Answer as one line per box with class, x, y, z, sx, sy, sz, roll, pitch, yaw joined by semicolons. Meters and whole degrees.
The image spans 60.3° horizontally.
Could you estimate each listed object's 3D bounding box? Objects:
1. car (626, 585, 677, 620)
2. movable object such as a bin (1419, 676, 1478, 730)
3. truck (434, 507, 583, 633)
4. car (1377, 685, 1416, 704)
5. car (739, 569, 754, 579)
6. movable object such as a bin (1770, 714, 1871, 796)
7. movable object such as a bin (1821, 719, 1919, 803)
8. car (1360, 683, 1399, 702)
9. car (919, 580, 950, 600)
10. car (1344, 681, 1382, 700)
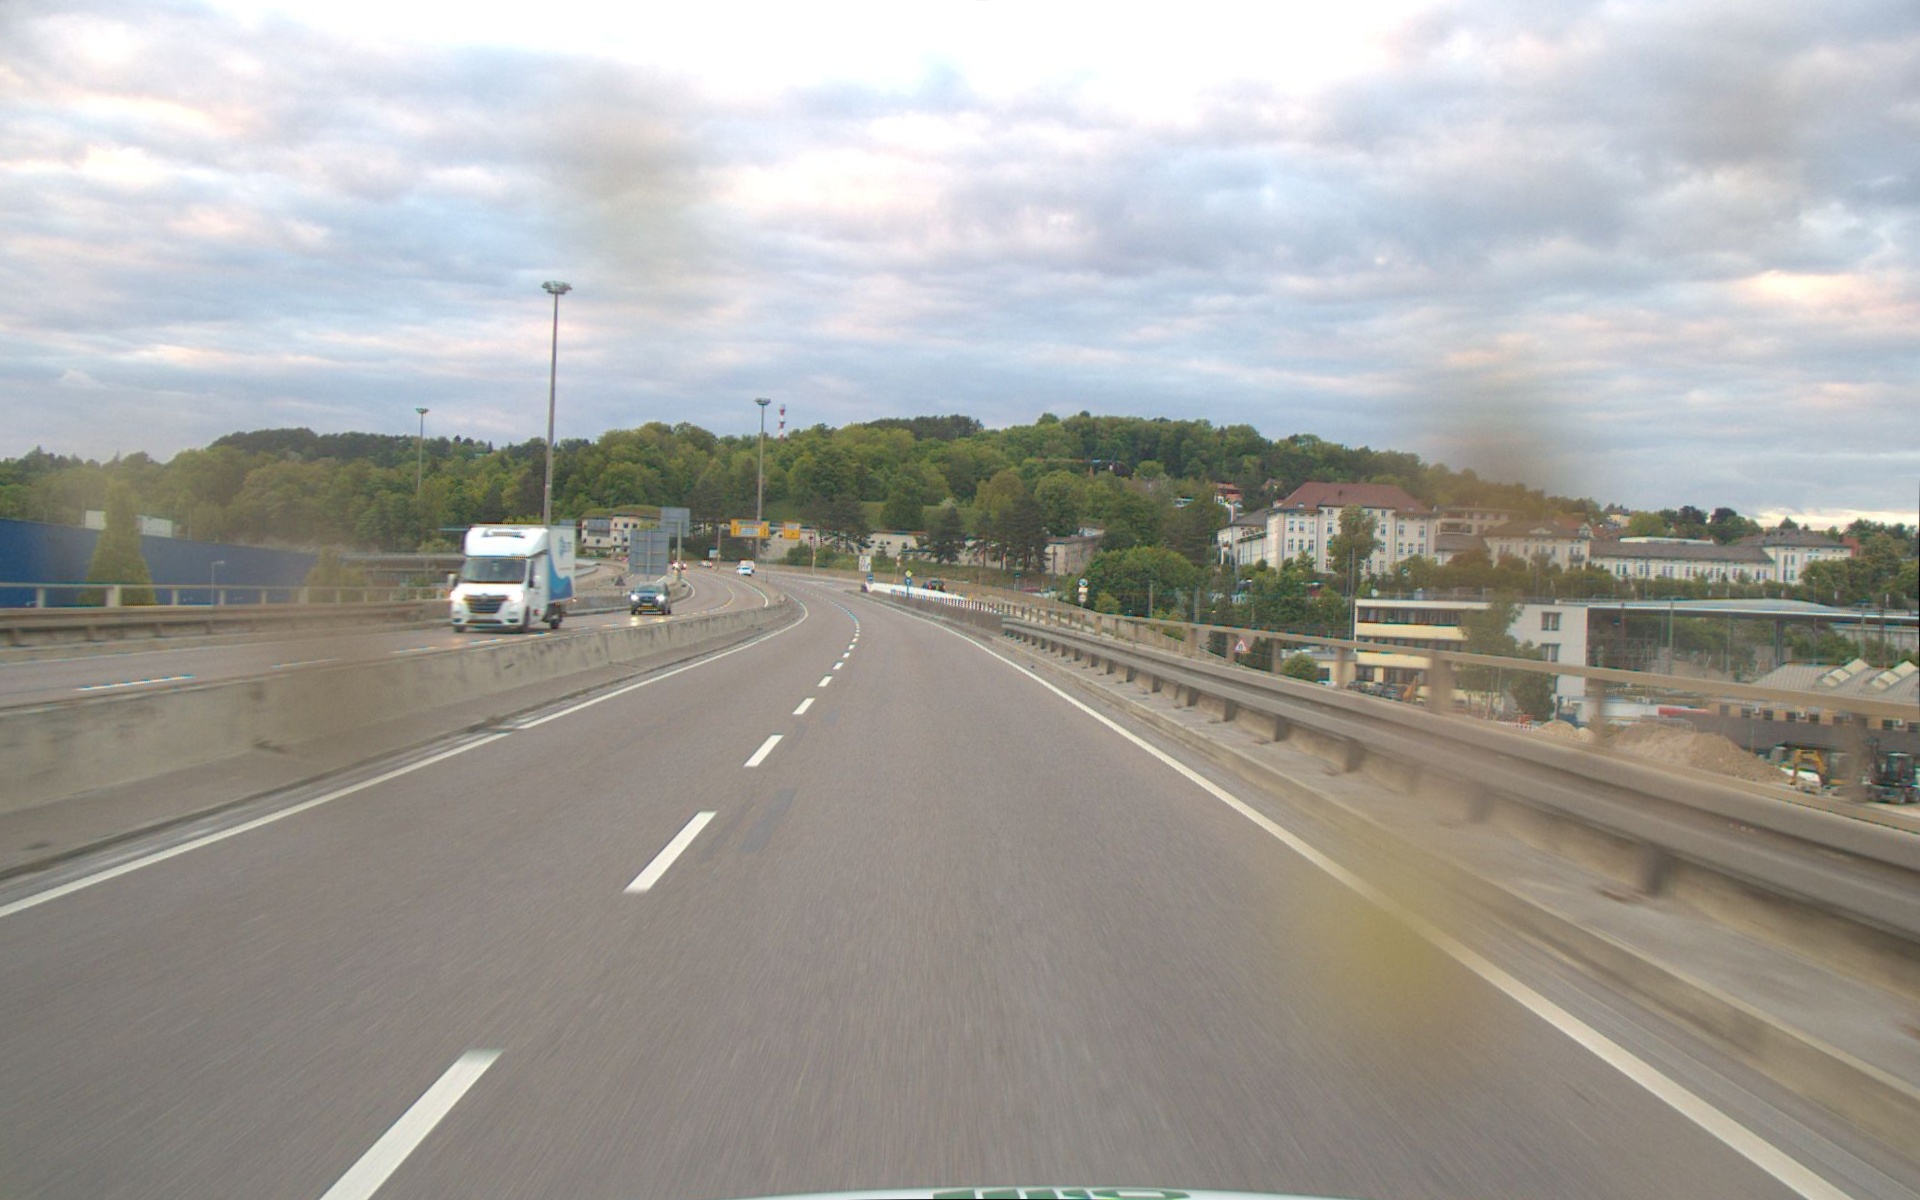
car;-15.160;0.100;81.441;1.938;1.634;4.437;1;0;-4
movable object such as a bin;46.593;9.802;157.802;2.732;4.382;4.937;8;-1;-16
truck;-13.092;-0.813;48.609;2.483;3.354;7.443;1;0;-2
car;45.267;9.821;171.530;3.958;1.592;1.808;6;2;-38
car;-30.423;-3.729;235.372;1.603;1.412;3.986;0;2;-14
movable object such as a bin;55.154;9.918;105.999;4.867;4.382;2.771;8;-1;-19
movable object such as a bin;56.562;9.941;102.417;4.867;4.382;2.771;8;-1;-19
car;44.490;9.809;175.402;3.958;1.592;1.808;6;2;-38
car;-2.570;-0.978;164.447;2.264;1.794;4.250;3;1;-12
car;43.523;9.793;178.540;3.958;1.592;1.808;6;2;-38
